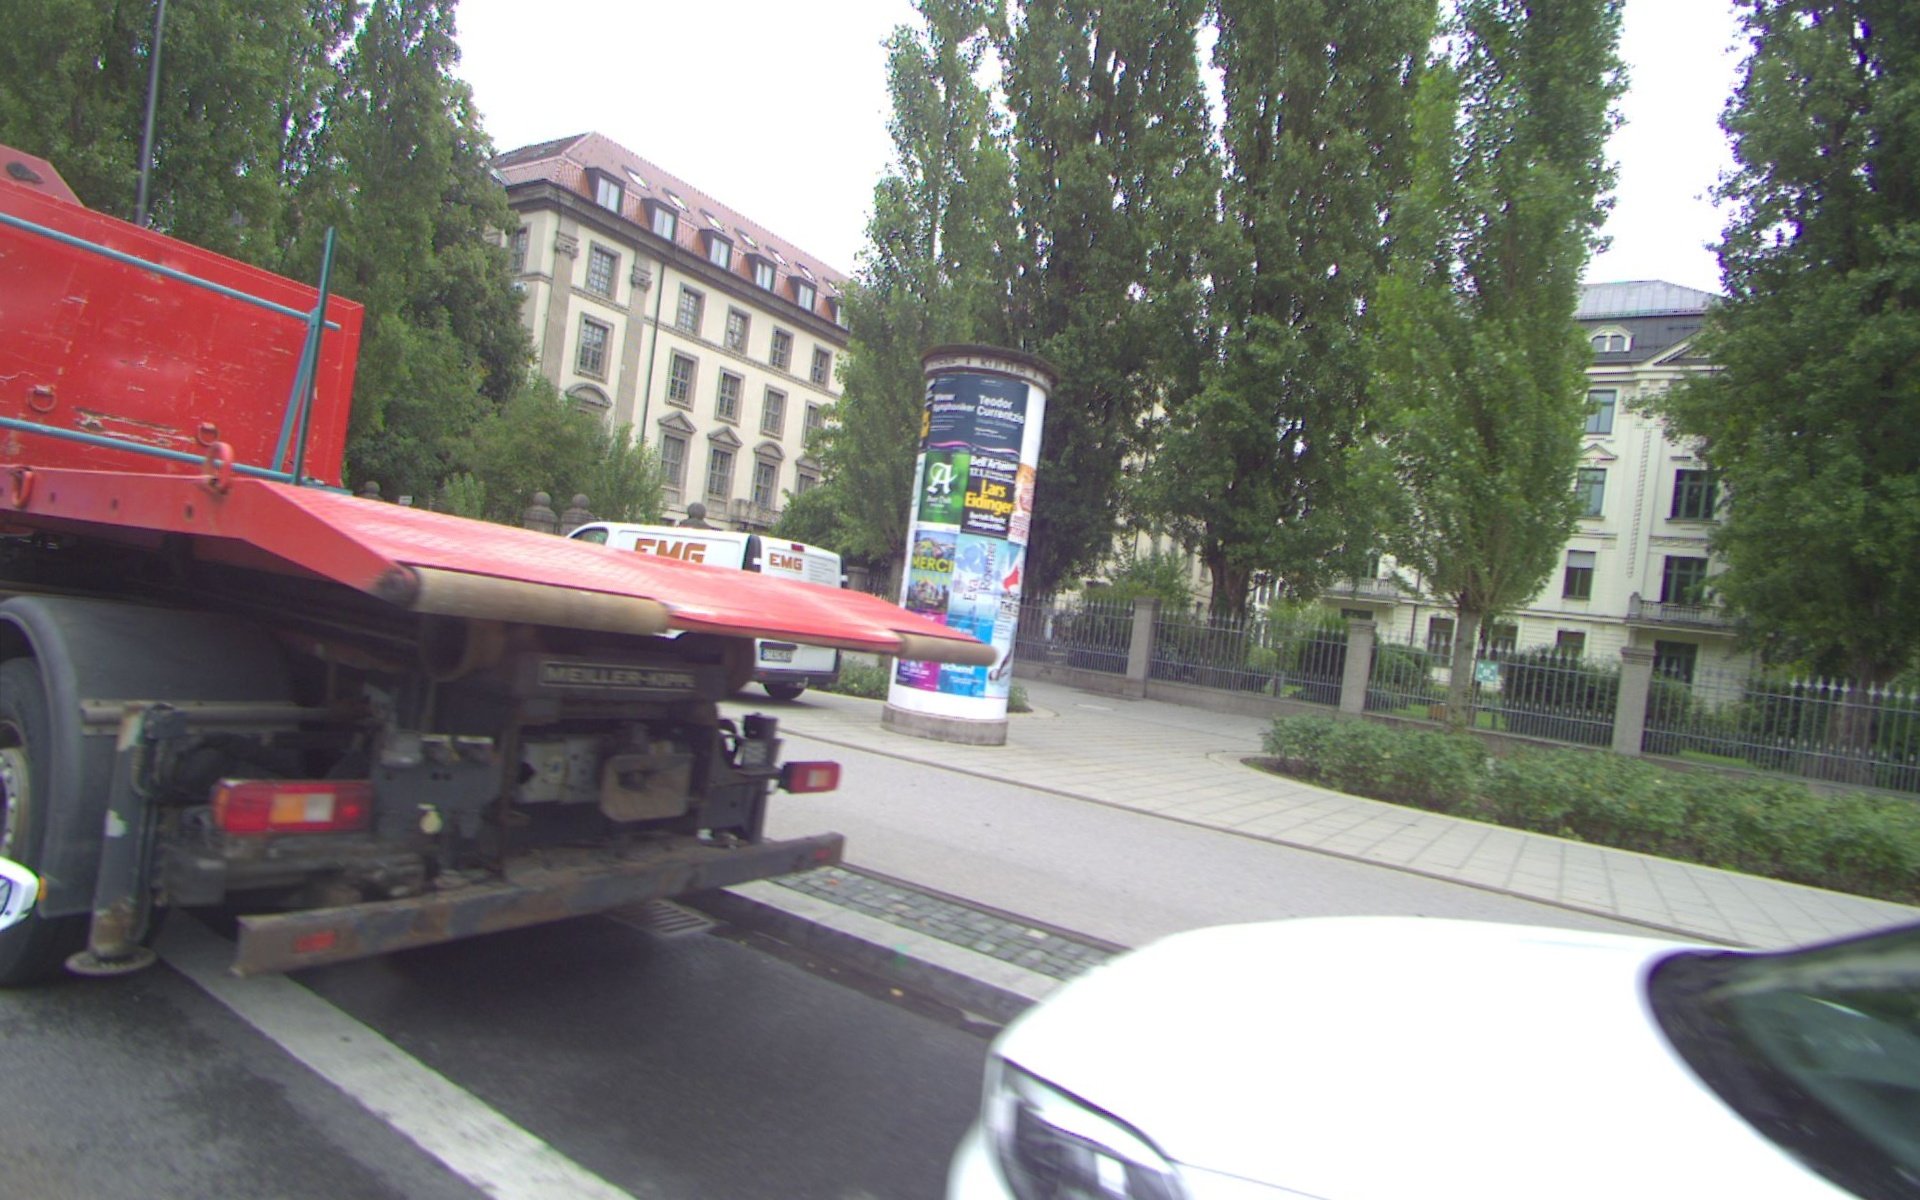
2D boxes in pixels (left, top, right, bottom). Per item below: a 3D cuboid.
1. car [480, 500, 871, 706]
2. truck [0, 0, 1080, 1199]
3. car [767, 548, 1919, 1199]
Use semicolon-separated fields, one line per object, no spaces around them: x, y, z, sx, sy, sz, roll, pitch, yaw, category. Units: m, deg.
-3.756;-0.007;12.993;4.803;1.967;1.884;7;-2;31;car
-4.685;-0.667;5.771;10.256;3.148;2.716;7;0;33;truck
1.935;0.953;1.210;4.148;1.477;1.791;7;-1;32;car
